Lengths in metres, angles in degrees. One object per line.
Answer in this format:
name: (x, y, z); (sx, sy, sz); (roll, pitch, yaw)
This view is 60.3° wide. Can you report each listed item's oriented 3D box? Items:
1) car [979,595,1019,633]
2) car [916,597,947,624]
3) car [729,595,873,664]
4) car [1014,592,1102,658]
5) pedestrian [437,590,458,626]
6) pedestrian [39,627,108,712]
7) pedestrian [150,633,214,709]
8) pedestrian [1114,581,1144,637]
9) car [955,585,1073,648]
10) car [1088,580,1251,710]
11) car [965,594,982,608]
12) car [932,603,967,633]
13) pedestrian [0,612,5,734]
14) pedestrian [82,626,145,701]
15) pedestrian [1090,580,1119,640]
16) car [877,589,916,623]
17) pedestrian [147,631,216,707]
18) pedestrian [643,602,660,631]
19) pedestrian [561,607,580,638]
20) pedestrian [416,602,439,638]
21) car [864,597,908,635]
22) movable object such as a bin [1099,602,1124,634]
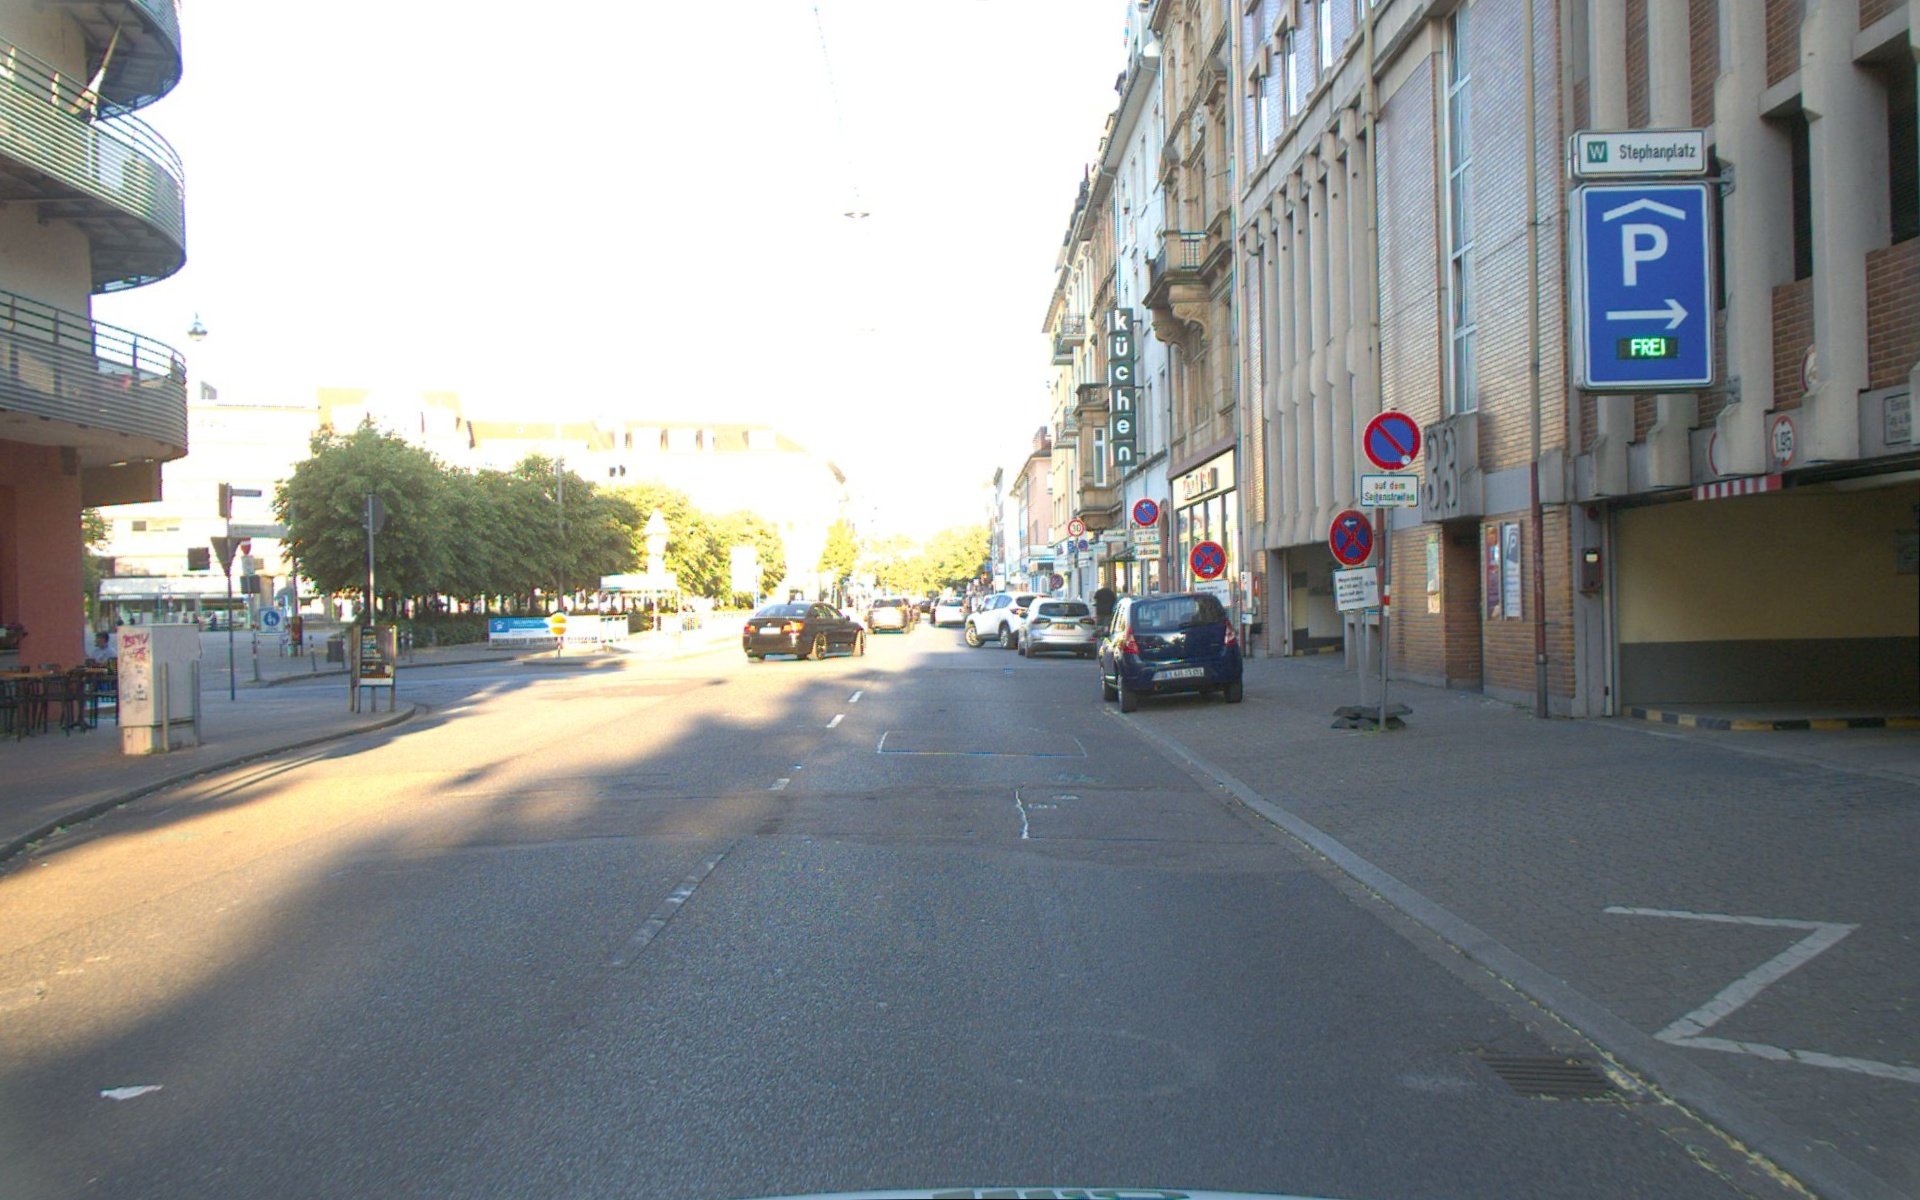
car: (1.775, 0.645, 76.378); (1.694, 1.679, 4.284); (1, -1, 0)
car: (-1.795, 0.619, 103.816); (1.858, 1.609, 3.851); (2, 0, -1)
car: (-3.907, 0.702, 41.258); (1.859, 1.609, 3.998); (0, 0, 24)
car: (2.417, 0.625, 41.961); (1.724, 1.563, 4.819); (1, -1, -3)
pedestrian: (-23.127, 0.354, 74.661); (0.663, 1.623, 0.568); (-1, 0, 19)
pedestrian: (-14.726, 1.150, 27.490); (0.732, 1.371, 0.828); (-2, -2, -7)
pedestrian: (-13.773, 1.254, 29.292); (0.811, 1.295, 0.747); (-2, -2, -9)
pedestrian: (5.400, 0.282, 52.901); (0.757, 1.741, 1.042); (-3, 0, -1)
car: (1.606, 0.510, 50.697); (1.966, 1.792, 4.435); (-1, 0, -22)
car: (2.868, 0.579, 23.434); (1.723, 1.563, 4.000); (-4, 0, 0)
car: (1.631, 0.111, 195.008); (1.858, 1.608, 3.851); (-2, 0, -1)
car: (-0.614, 0.978, 90.147); (1.858, 1.609, 3.999); (0, 0, -1)
pedestrian: (-13.076, 0.980, 21.758); (0.584, 1.623, 0.702); (-2, -2, 1)
pedestrian: (-14.753, 1.106, 28.855); (0.708, 1.269, 0.828); (-2, -2, -7)
pedestrian: (4.606, 0.306, 52.770); (0.757, 1.859, 1.010); (-3, 0, -1)
car: (-3.185, 0.311, 83.649); (1.858, 1.678, 4.103); (-1, 0, -1)
pedestrian: (-13.461, 1.192, 28.612); (0.881, 1.264, 0.766); (-2, -2, -9)
pedestrian: (-17.683, 0.942, 94.924); (0.774, 1.623, 0.568); (-1, 0, 19)
pedestrian: (-20.130, 1.162, 85.448); (0.663, 1.623, 0.677); (-1, 0, 19)
pedestrian: (-24.137, 0.917, 74.948); (0.774, 1.623, 0.568); (-1, 0, 19)
car: (-3.348, 0.710, 75.391); (1.858, 1.678, 4.103); (-1, 0, -1)
movable object such as a bin: (5.307, 0.626, 57.937); (0.759, 1.089, 0.618); (-3, 0, -1)
